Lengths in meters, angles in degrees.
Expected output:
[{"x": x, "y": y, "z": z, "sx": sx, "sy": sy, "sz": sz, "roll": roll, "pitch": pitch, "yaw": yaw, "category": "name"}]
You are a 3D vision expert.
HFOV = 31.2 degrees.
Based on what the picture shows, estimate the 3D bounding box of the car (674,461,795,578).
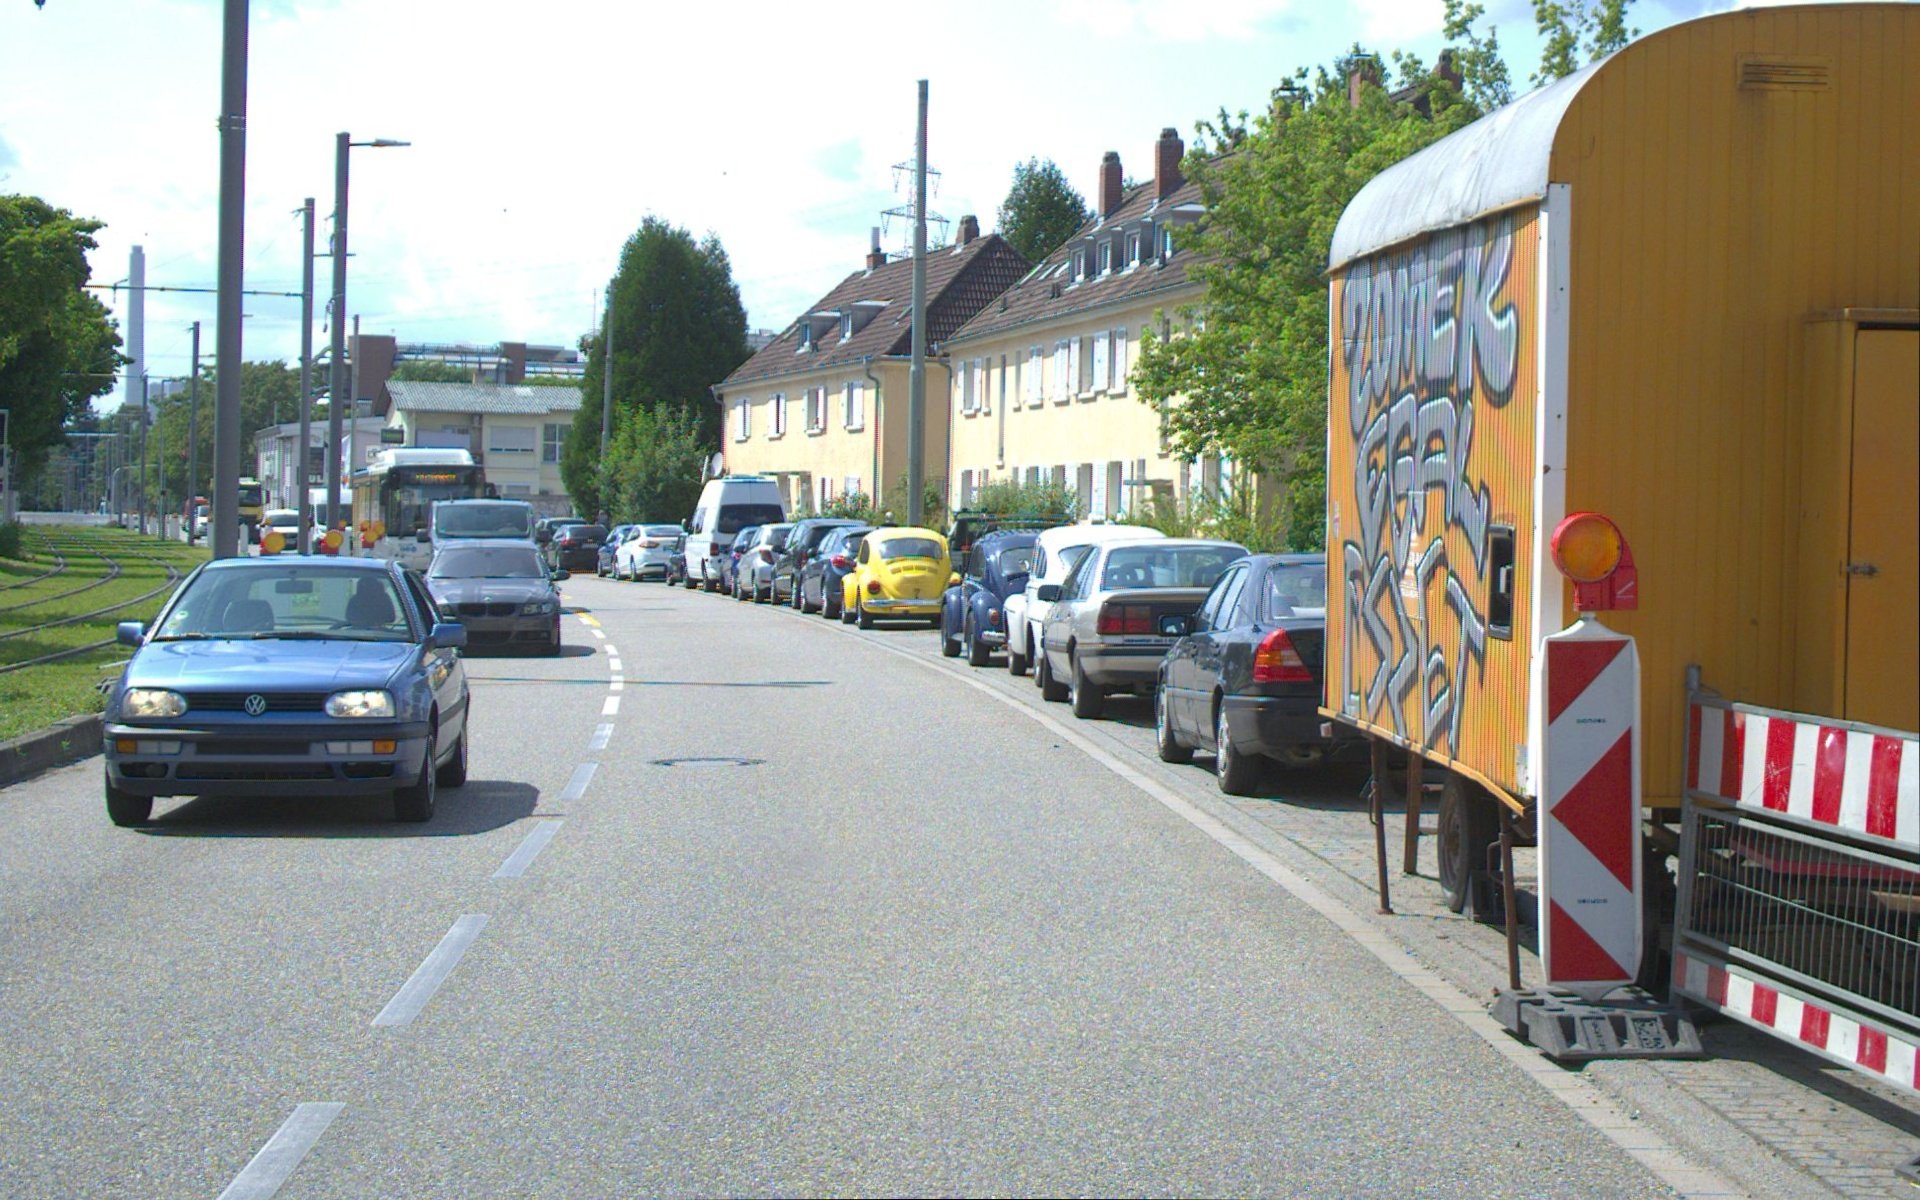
[{"x": -5.004, "y": -1.769, "z": 75.616, "sx": 1.929, "sy": 2.472, "sz": 5.519, "roll": 0, "pitch": 1, "yaw": -11, "category": "car"}]

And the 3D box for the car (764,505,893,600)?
[{"x": -2.395, "y": -0.882, "z": 61.680, "sx": 1.635, "sy": 1.597, "sz": 3.933, "roll": 1, "pitch": 1, "yaw": -12, "category": "car"}]

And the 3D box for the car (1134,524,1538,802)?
[{"x": 2.139, "y": 0.294, "z": 20.708, "sx": 1.577, "sy": 1.444, "sz": 4.454, "roll": 1, "pitch": 1, "yaw": -5, "category": "car"}]

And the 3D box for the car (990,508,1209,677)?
[{"x": 1.290, "y": -0.127, "z": 33.578, "sx": 1.577, "sy": 1.507, "sz": 4.460, "roll": 1, "pitch": 1, "yaw": -5, "category": "car"}]

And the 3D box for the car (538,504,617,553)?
[{"x": -11.369, "y": -2.140, "z": 102.015, "sx": 1.763, "sy": 1.412, "sz": 4.001, "roll": -1, "pitch": 2, "yaw": -14, "category": "car"}]

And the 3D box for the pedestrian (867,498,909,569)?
[{"x": -1.687, "y": -1.565, "z": 80.778, "sx": 0.853, "sy": 1.646, "sz": 0.637, "roll": 2, "pitch": 1, "yaw": -9, "category": "pedestrian"}]

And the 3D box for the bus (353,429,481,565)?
[{"x": -14.682, "y": -2.752, "z": 92.246, "sx": 2.635, "sy": 3.400, "sz": 12.253, "roll": 0, "pitch": 2, "yaw": -12, "category": "bus"}]

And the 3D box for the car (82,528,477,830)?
[{"x": -3.651, "y": 0.347, "z": 19.039, "sx": 1.665, "sy": 1.444, "sz": 3.960, "roll": -1, "pitch": 2, "yaw": -4, "category": "car"}]

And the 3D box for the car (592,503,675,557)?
[{"x": -8.898, "y": -1.922, "z": 93.496, "sx": 1.620, "sy": 1.412, "sz": 4.001, "roll": -1, "pitch": 2, "yaw": -14, "category": "car"}]

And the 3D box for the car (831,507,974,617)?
[{"x": -0.894, "y": -0.599, "z": 51.127, "sx": 1.636, "sy": 1.477, "sz": 3.933, "roll": -2, "pitch": 2, "yaw": -8, "category": "car"}]

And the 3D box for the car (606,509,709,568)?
[{"x": -7.778, "y": -1.569, "z": 88.116, "sx": 1.798, "sy": 1.453, "sz": 4.767, "roll": -1, "pitch": 1, "yaw": -15, "category": "car"}]

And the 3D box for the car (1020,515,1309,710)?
[{"x": 1.594, "y": 0.037, "z": 28.491, "sx": 1.706, "sy": 1.444, "sz": 4.836, "roll": 1, "pitch": 1, "yaw": -5, "category": "car"}]

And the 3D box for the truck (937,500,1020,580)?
[{"x": 0.387, "y": -1.295, "z": 74.119, "sx": 1.346, "sy": 1.683, "sz": 2.442, "roll": 1, "pitch": 1, "yaw": -10, "category": "truck"}]

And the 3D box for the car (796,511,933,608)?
[{"x": -1.601, "y": -0.696, "z": 56.319, "sx": 1.636, "sy": 1.477, "sz": 4.126, "roll": 1, "pitch": 1, "yaw": -10, "category": "car"}]

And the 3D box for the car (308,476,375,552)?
[{"x": -20.866, "y": -2.906, "z": 115.900, "sx": 2.102, "sy": 2.435, "sz": 5.573, "roll": 1, "pitch": 1, "yaw": -11, "category": "car"}]

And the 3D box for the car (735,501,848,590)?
[{"x": -3.247, "y": -1.058, "z": 65.567, "sx": 1.636, "sy": 1.597, "sz": 4.030, "roll": 1, "pitch": 1, "yaw": -10, "category": "car"}]

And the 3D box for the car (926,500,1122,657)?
[{"x": 0.662, "y": -0.282, "z": 38.683, "sx": 1.548, "sy": 1.635, "sz": 4.248, "roll": 1, "pitch": 1, "yaw": -8, "category": "car"}]

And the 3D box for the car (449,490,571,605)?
[{"x": -8.116, "y": -0.965, "z": 61.689, "sx": 1.955, "sy": 1.959, "sz": 5.294, "roll": 0, "pitch": 1, "yaw": -10, "category": "car"}]

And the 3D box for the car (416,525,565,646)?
[{"x": -5.842, "y": -0.213, "z": 42.790, "sx": 1.724, "sy": 1.384, "sz": 4.123, "roll": 1, "pitch": 1, "yaw": -8, "category": "car"}]

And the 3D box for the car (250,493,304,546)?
[{"x": -23.810, "y": -2.811, "z": 119.771, "sx": 1.734, "sy": 1.767, "sz": 4.310, "roll": 1, "pitch": 1, "yaw": -12, "category": "car"}]

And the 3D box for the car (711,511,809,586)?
[{"x": -4.117, "y": -1.071, "z": 70.337, "sx": 1.535, "sy": 1.440, "sz": 3.738, "roll": 1, "pitch": 1, "yaw": -10, "category": "car"}]

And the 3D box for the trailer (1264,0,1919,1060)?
[{"x": 2.821, "y": -0.382, "z": 12.116, "sx": 2.690, "sy": 3.215, "sz": 5.083, "roll": 1, "pitch": 1, "yaw": -3, "category": "trailer"}]
